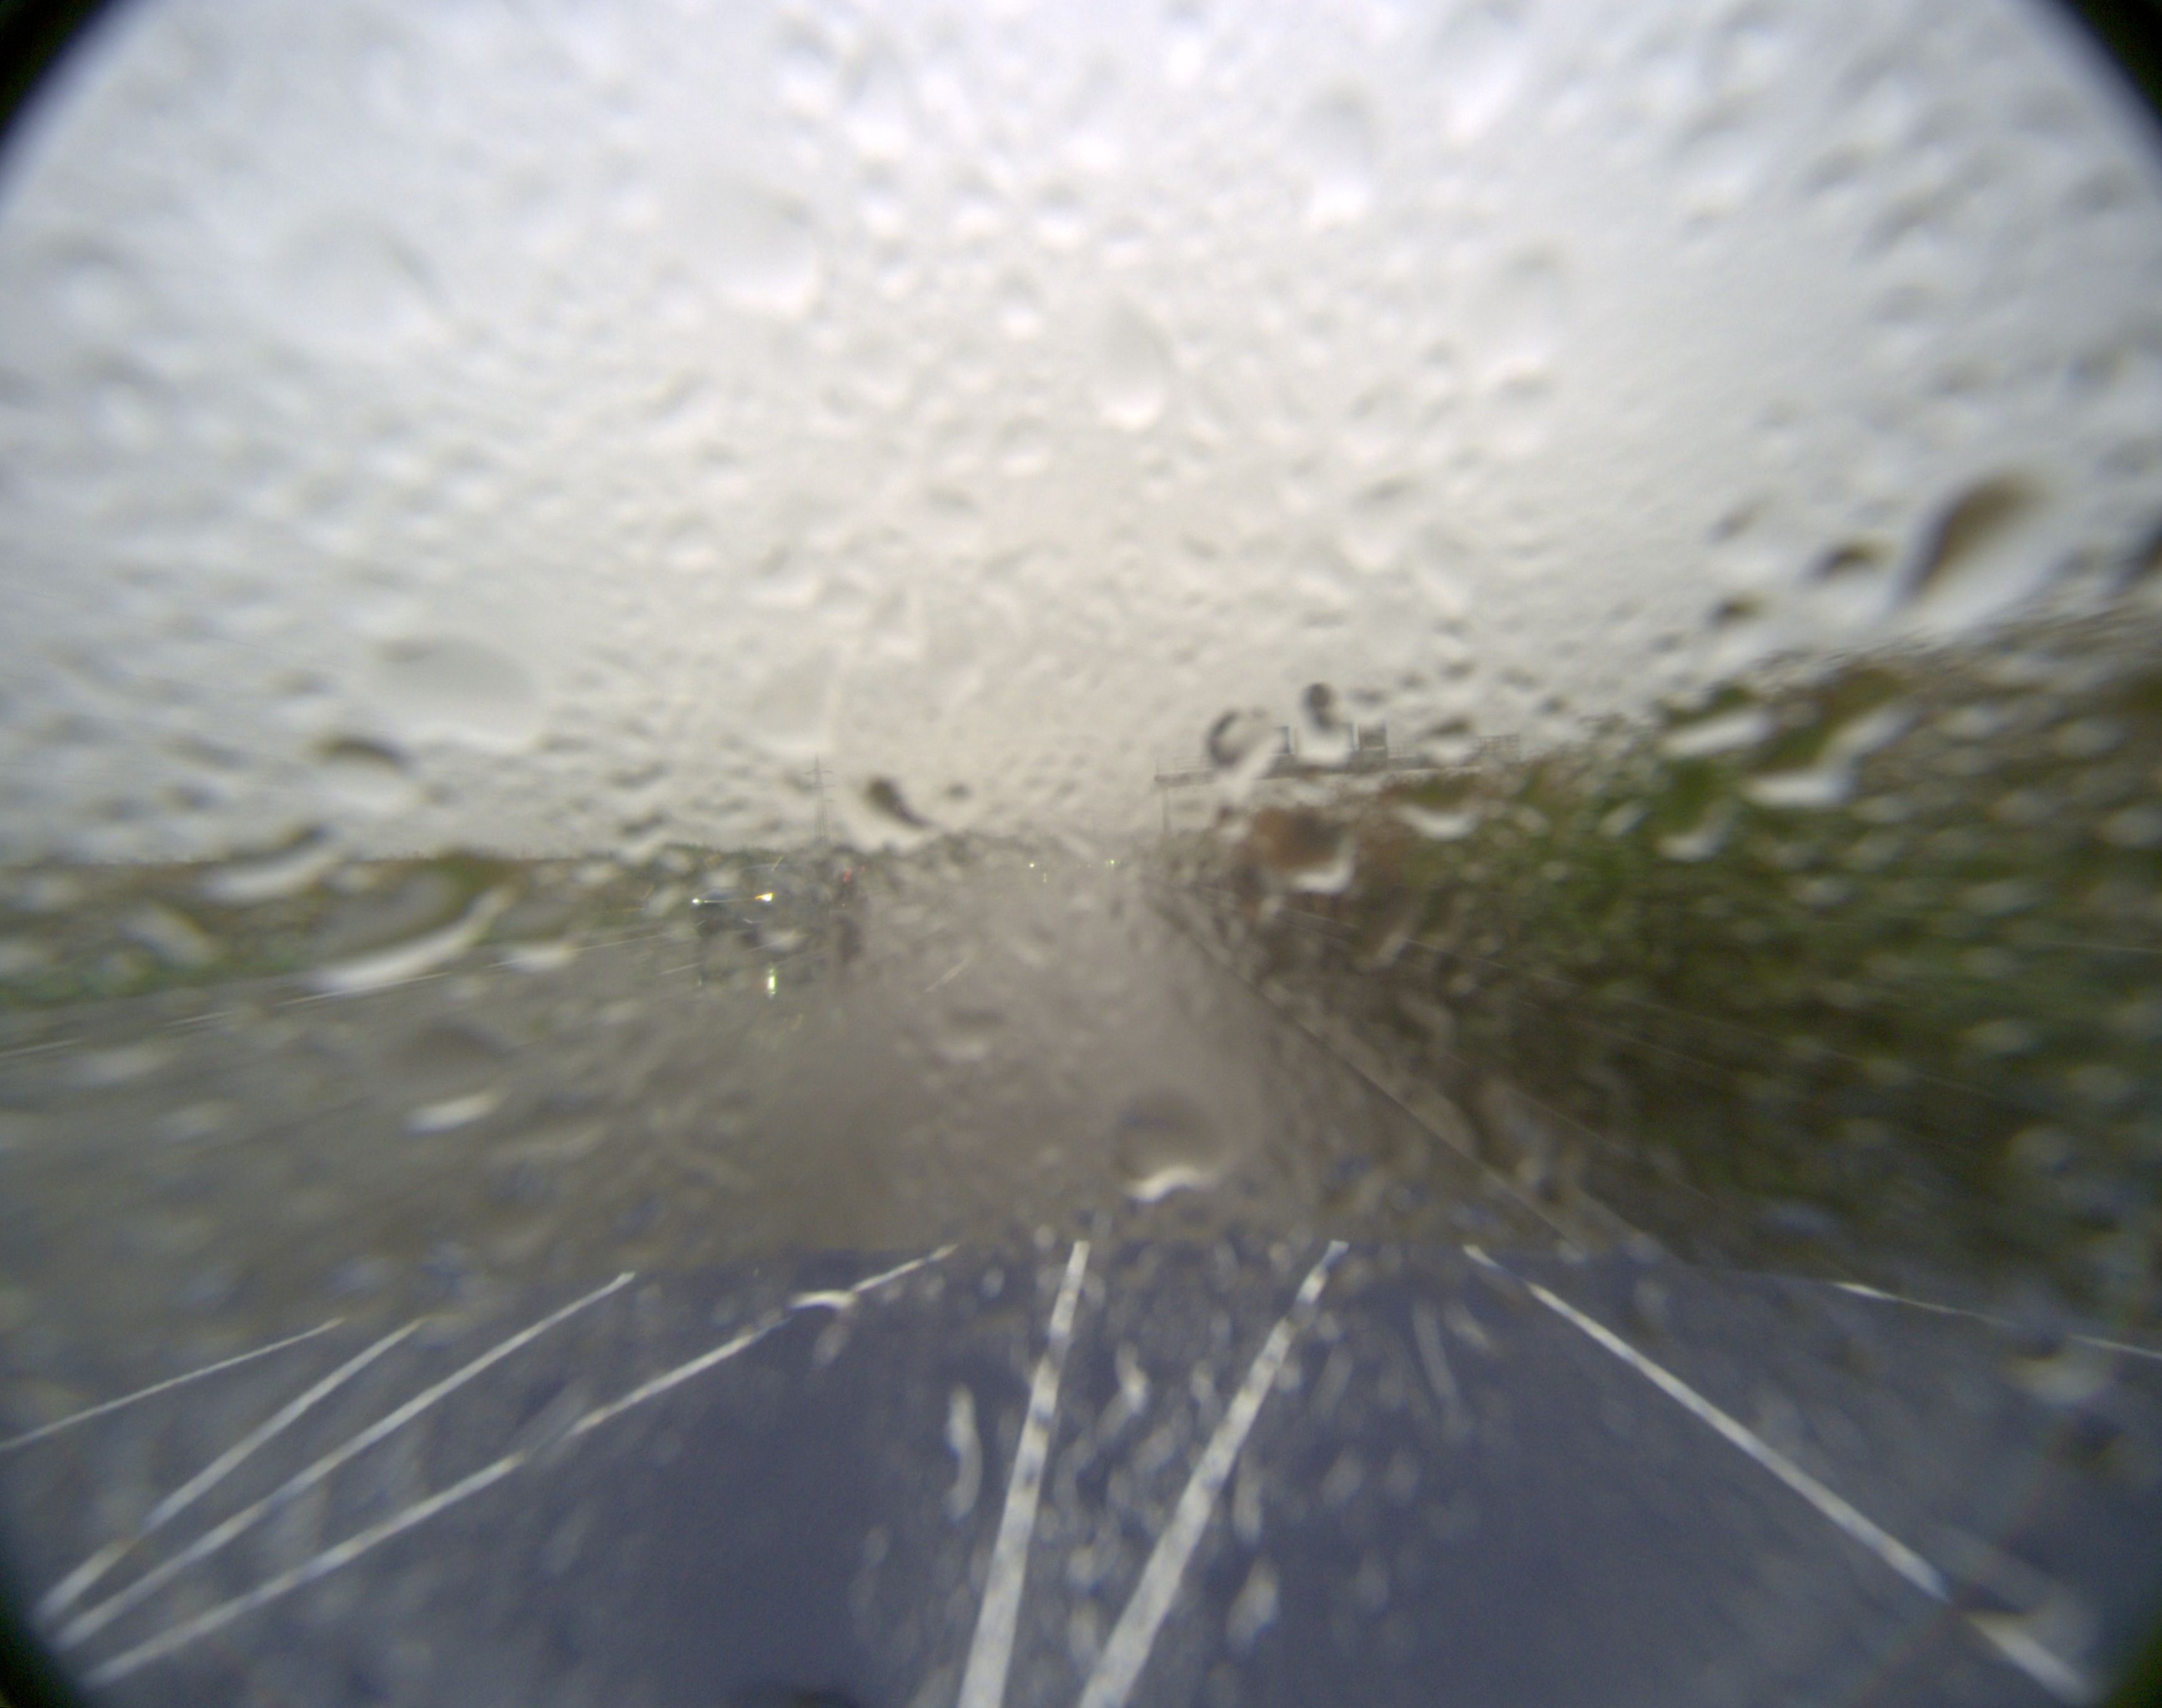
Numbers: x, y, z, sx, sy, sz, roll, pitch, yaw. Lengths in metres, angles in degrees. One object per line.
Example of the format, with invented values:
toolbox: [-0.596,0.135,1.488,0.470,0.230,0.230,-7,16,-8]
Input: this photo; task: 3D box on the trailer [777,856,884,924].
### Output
trailer: [-7.290,0.988,22.437,1.984,1.774,3.189,-2,0,1]

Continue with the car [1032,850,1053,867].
car: [-4.854,0.626,96.446,1.998,2.001,4.002,-3,-1,4]

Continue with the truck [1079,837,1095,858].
truck: [1.543,-1.498,183.982,3.135,4.641,11.407,-2,0,3]

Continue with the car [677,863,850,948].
car: [-7.378,1.101,18.342,1.998,1.609,4.992,-2,0,0]

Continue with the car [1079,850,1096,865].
car: [0.986,0.522,114.259,1.997,2.002,4.002,-2,0,6]
